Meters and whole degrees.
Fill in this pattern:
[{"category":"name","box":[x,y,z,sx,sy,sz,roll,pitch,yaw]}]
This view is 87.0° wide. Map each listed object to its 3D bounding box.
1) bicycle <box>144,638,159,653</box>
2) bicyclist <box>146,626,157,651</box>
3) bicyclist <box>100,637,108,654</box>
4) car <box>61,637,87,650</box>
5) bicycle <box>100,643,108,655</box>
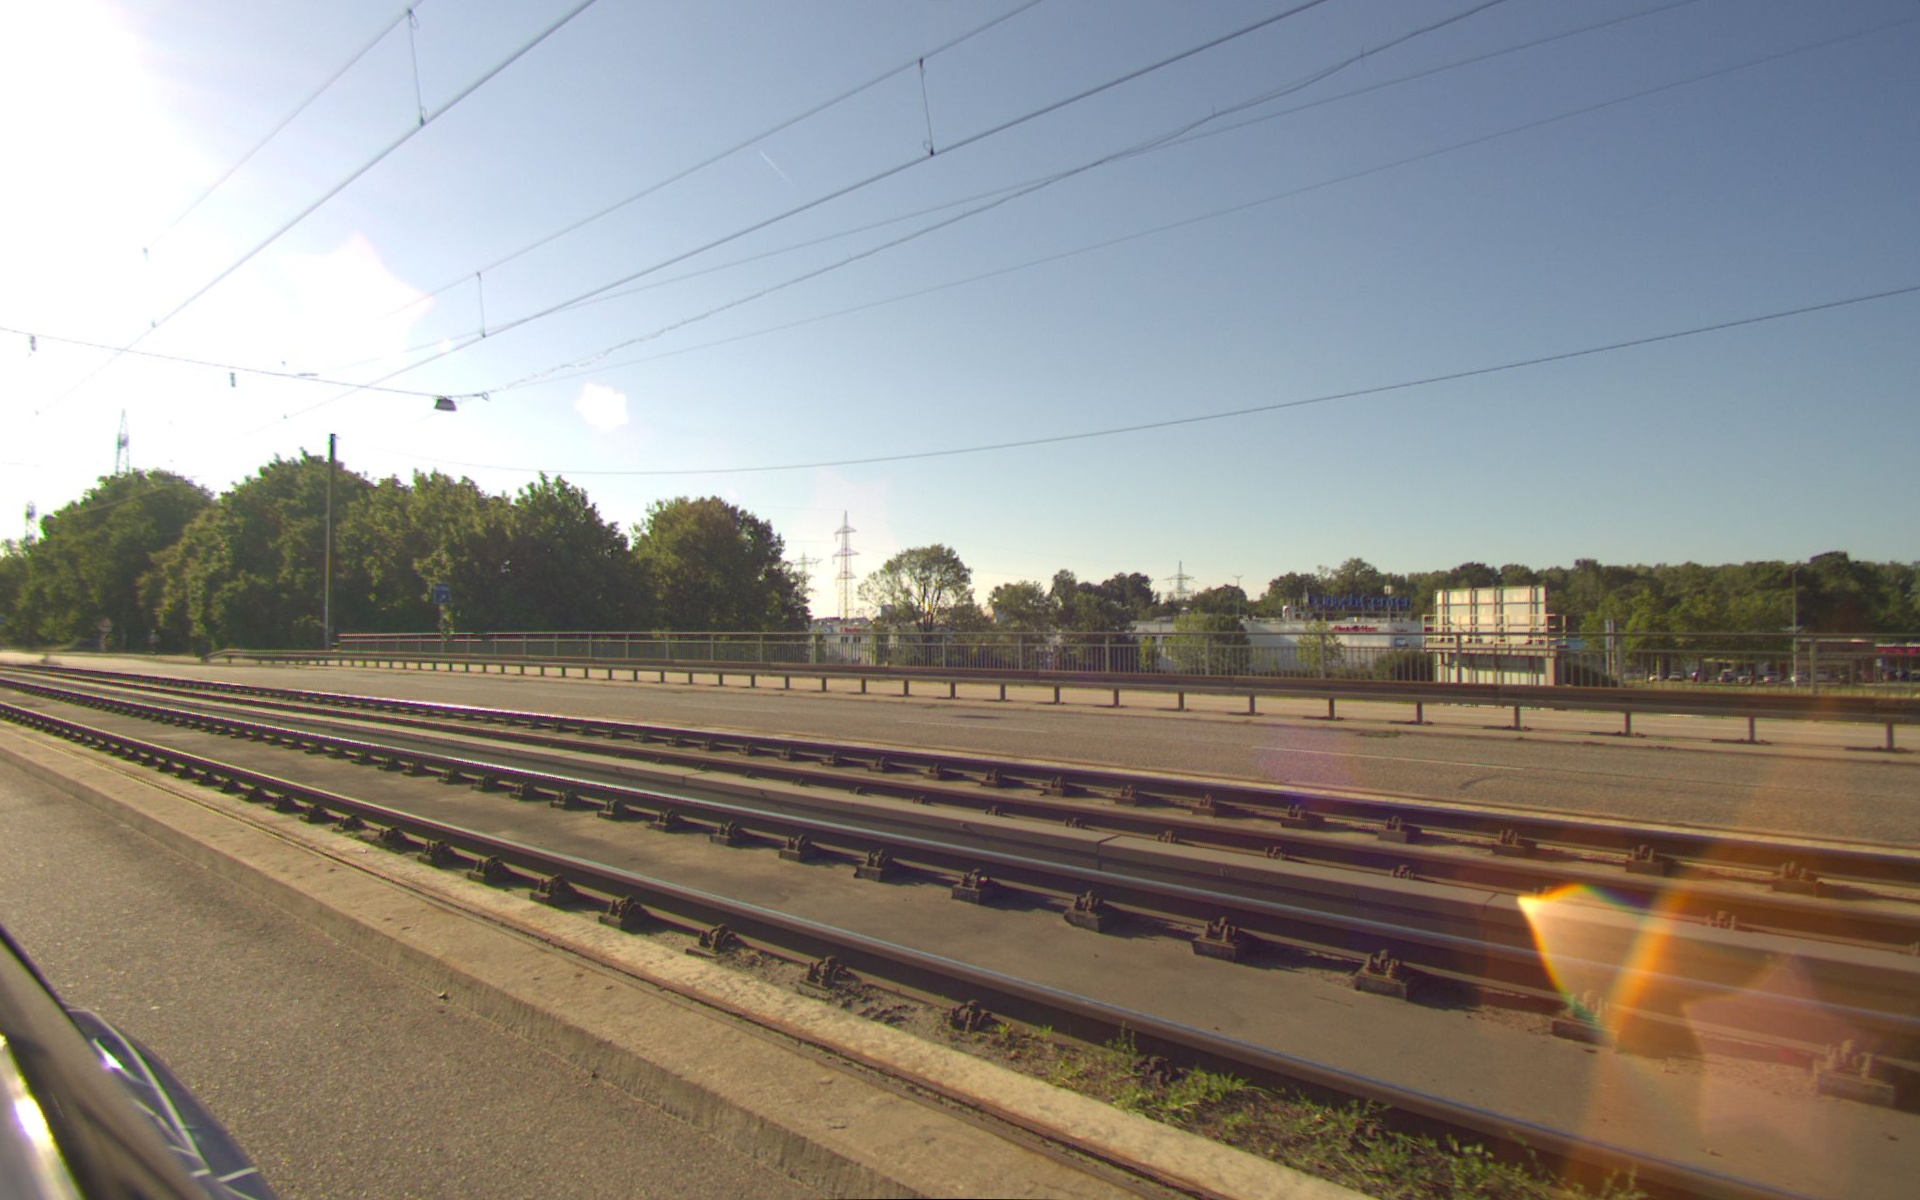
[{"category":"bicycle","box":[-57.049,3.204,71.446,1.726,1.060,0.499,-1,-1,40]},{"category":"bicyclist","box":[-57.123,2.705,71.503,0.832,1.764,0.492,-1,-1,39]},{"category":"bicyclist","box":[-71.720,3.792,84.801,0.417,1.440,0.755,0,-1,-44]},{"category":"car","box":[-112.512,5.545,128.459,3.954,1.533,1.952,-1,-1,41]},{"category":"bicycle","box":[-71.697,4.131,84.778,0.420,0.971,1.914,0,-1,-44]}]
